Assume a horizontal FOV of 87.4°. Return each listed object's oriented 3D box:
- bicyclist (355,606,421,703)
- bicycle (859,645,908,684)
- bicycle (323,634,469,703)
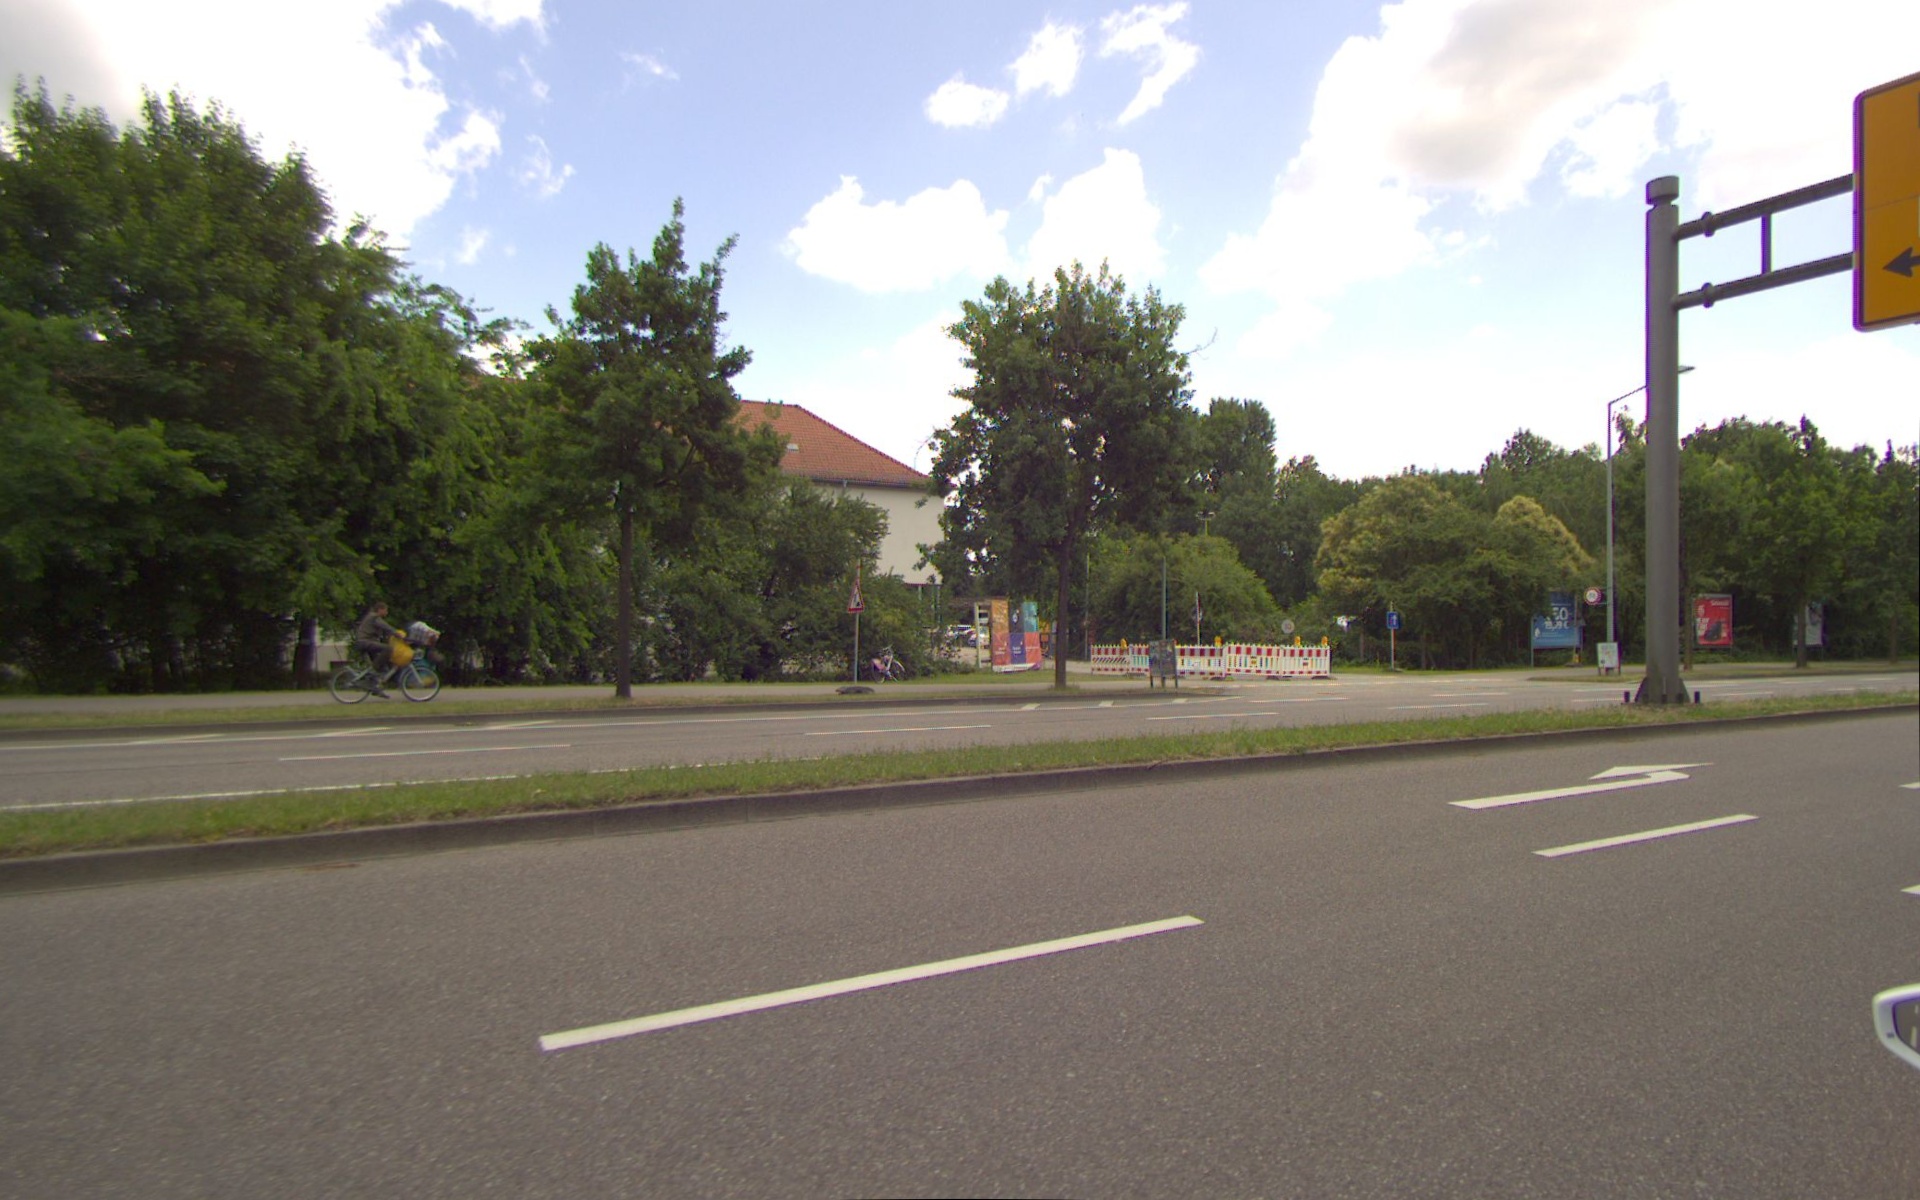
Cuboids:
[{"bbox_3d":[-10.272,0.959,18.030,0.971,1.680,0.733,1,-2,-34],"label":"bicyclist"},{"bbox_3d":[-2.083,1.759,27.633,0.651,1.028,2.151,0,-2,15],"label":"bicycle"},{"bbox_3d":[-10.145,1.196,18.111,2.235,1.177,0.745,1,-2,-34],"label":"bicycle"}]
